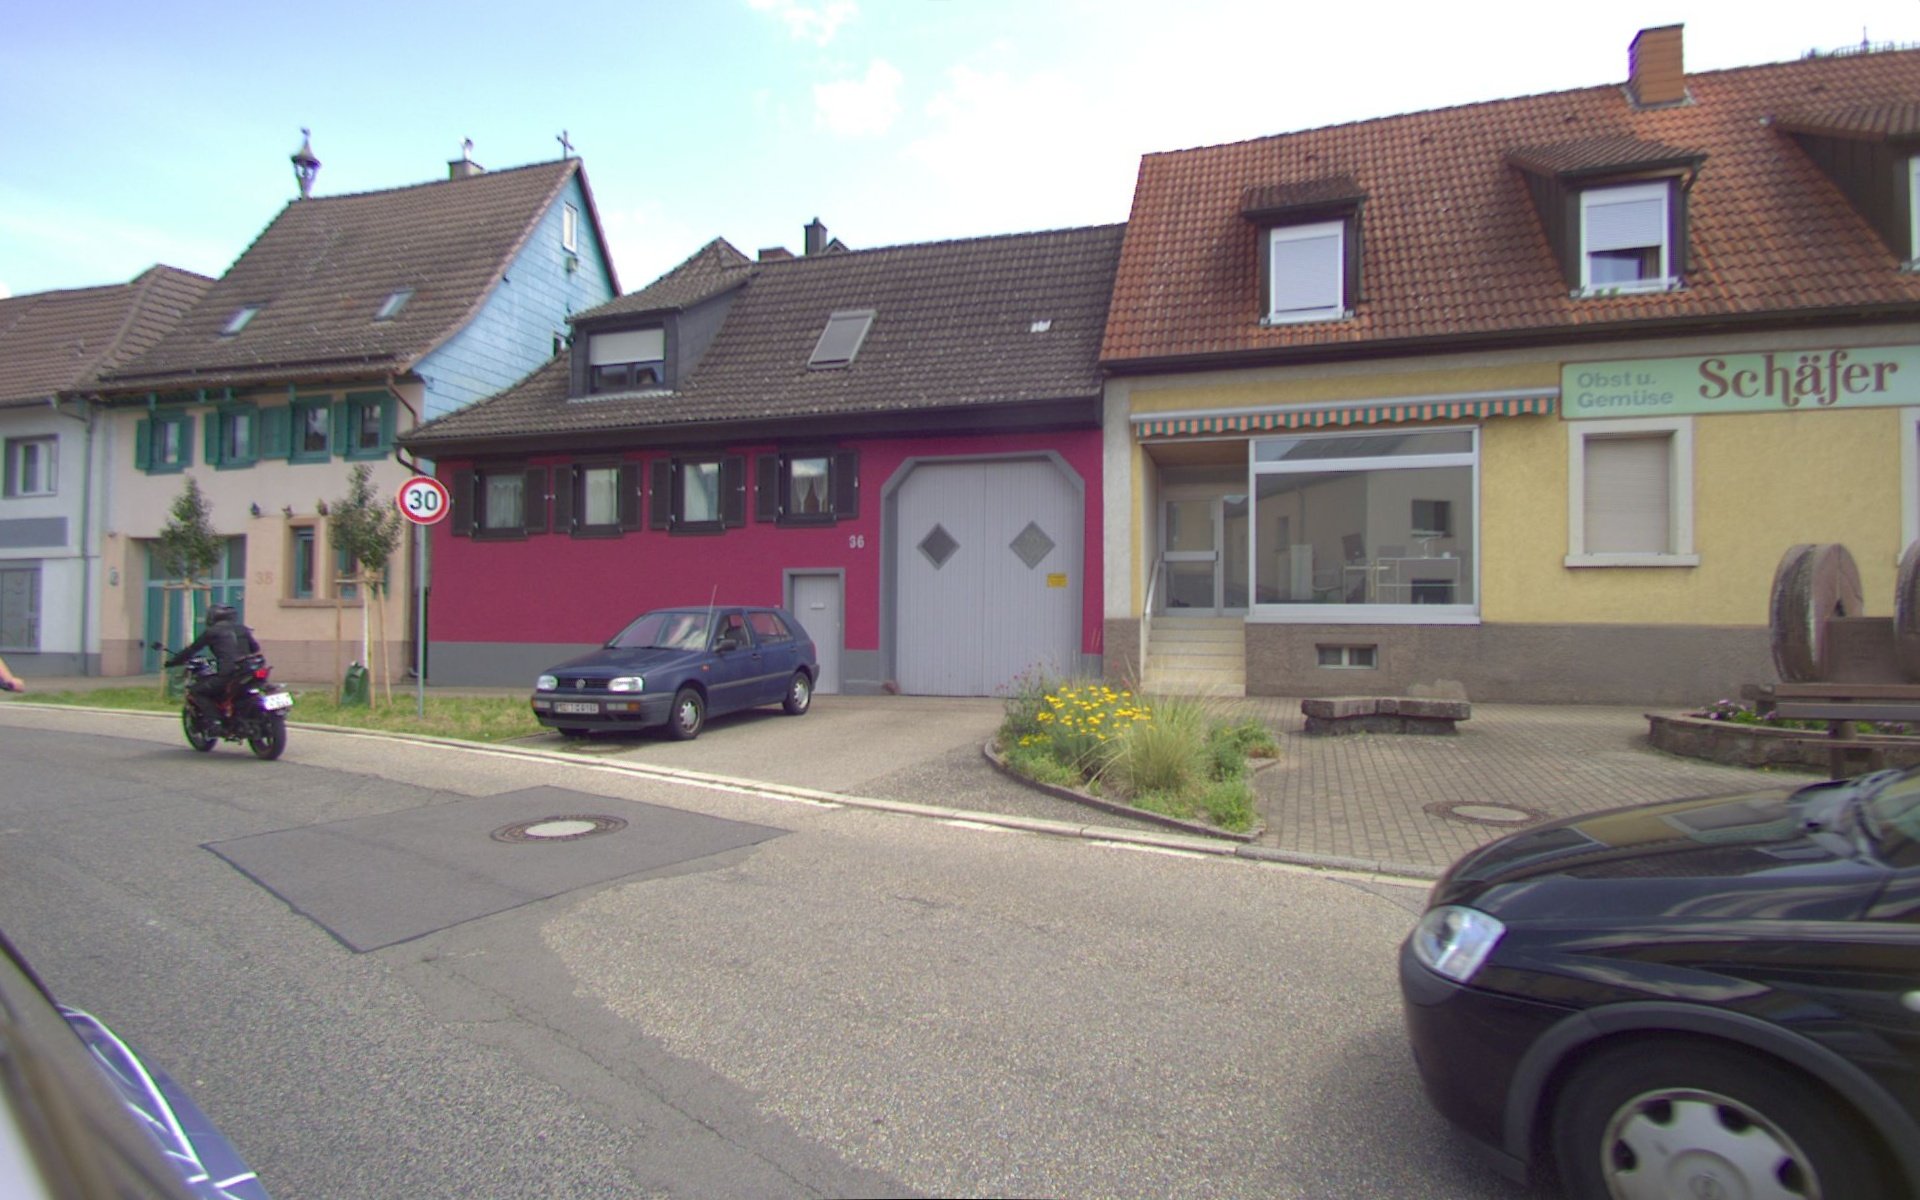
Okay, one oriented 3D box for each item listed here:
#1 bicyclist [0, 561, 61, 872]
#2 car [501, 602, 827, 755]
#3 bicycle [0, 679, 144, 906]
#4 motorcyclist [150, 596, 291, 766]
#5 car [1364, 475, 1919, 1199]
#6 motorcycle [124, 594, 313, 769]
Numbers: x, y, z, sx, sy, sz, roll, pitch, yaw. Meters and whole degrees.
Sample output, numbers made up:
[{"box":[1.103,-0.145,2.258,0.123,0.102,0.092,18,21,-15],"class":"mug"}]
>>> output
[{"box":[-5.675,0.631,5.556,0.758,1.701,0.901,1,0,30],"class":"bicyclist"},{"box":[-3.239,0.761,11.923,1.708,1.475,3.953,0,0,20],"class":"car"},{"box":[-5.355,0.972,5.400,1.916,1.019,0.925,-2,-1,30],"class":"bicycle"},{"box":[-7.264,0.765,9.956,0.804,1.566,0.889,-2,-2,32],"class":"motorcyclist"},{"box":[2.894,0.584,1.689,3.853,1.551,1.485,1,0,40],"class":"car"},{"box":[-7.360,0.760,10.027,1.961,1.573,0.873,-2,-2,33],"class":"motorcycle"}]
